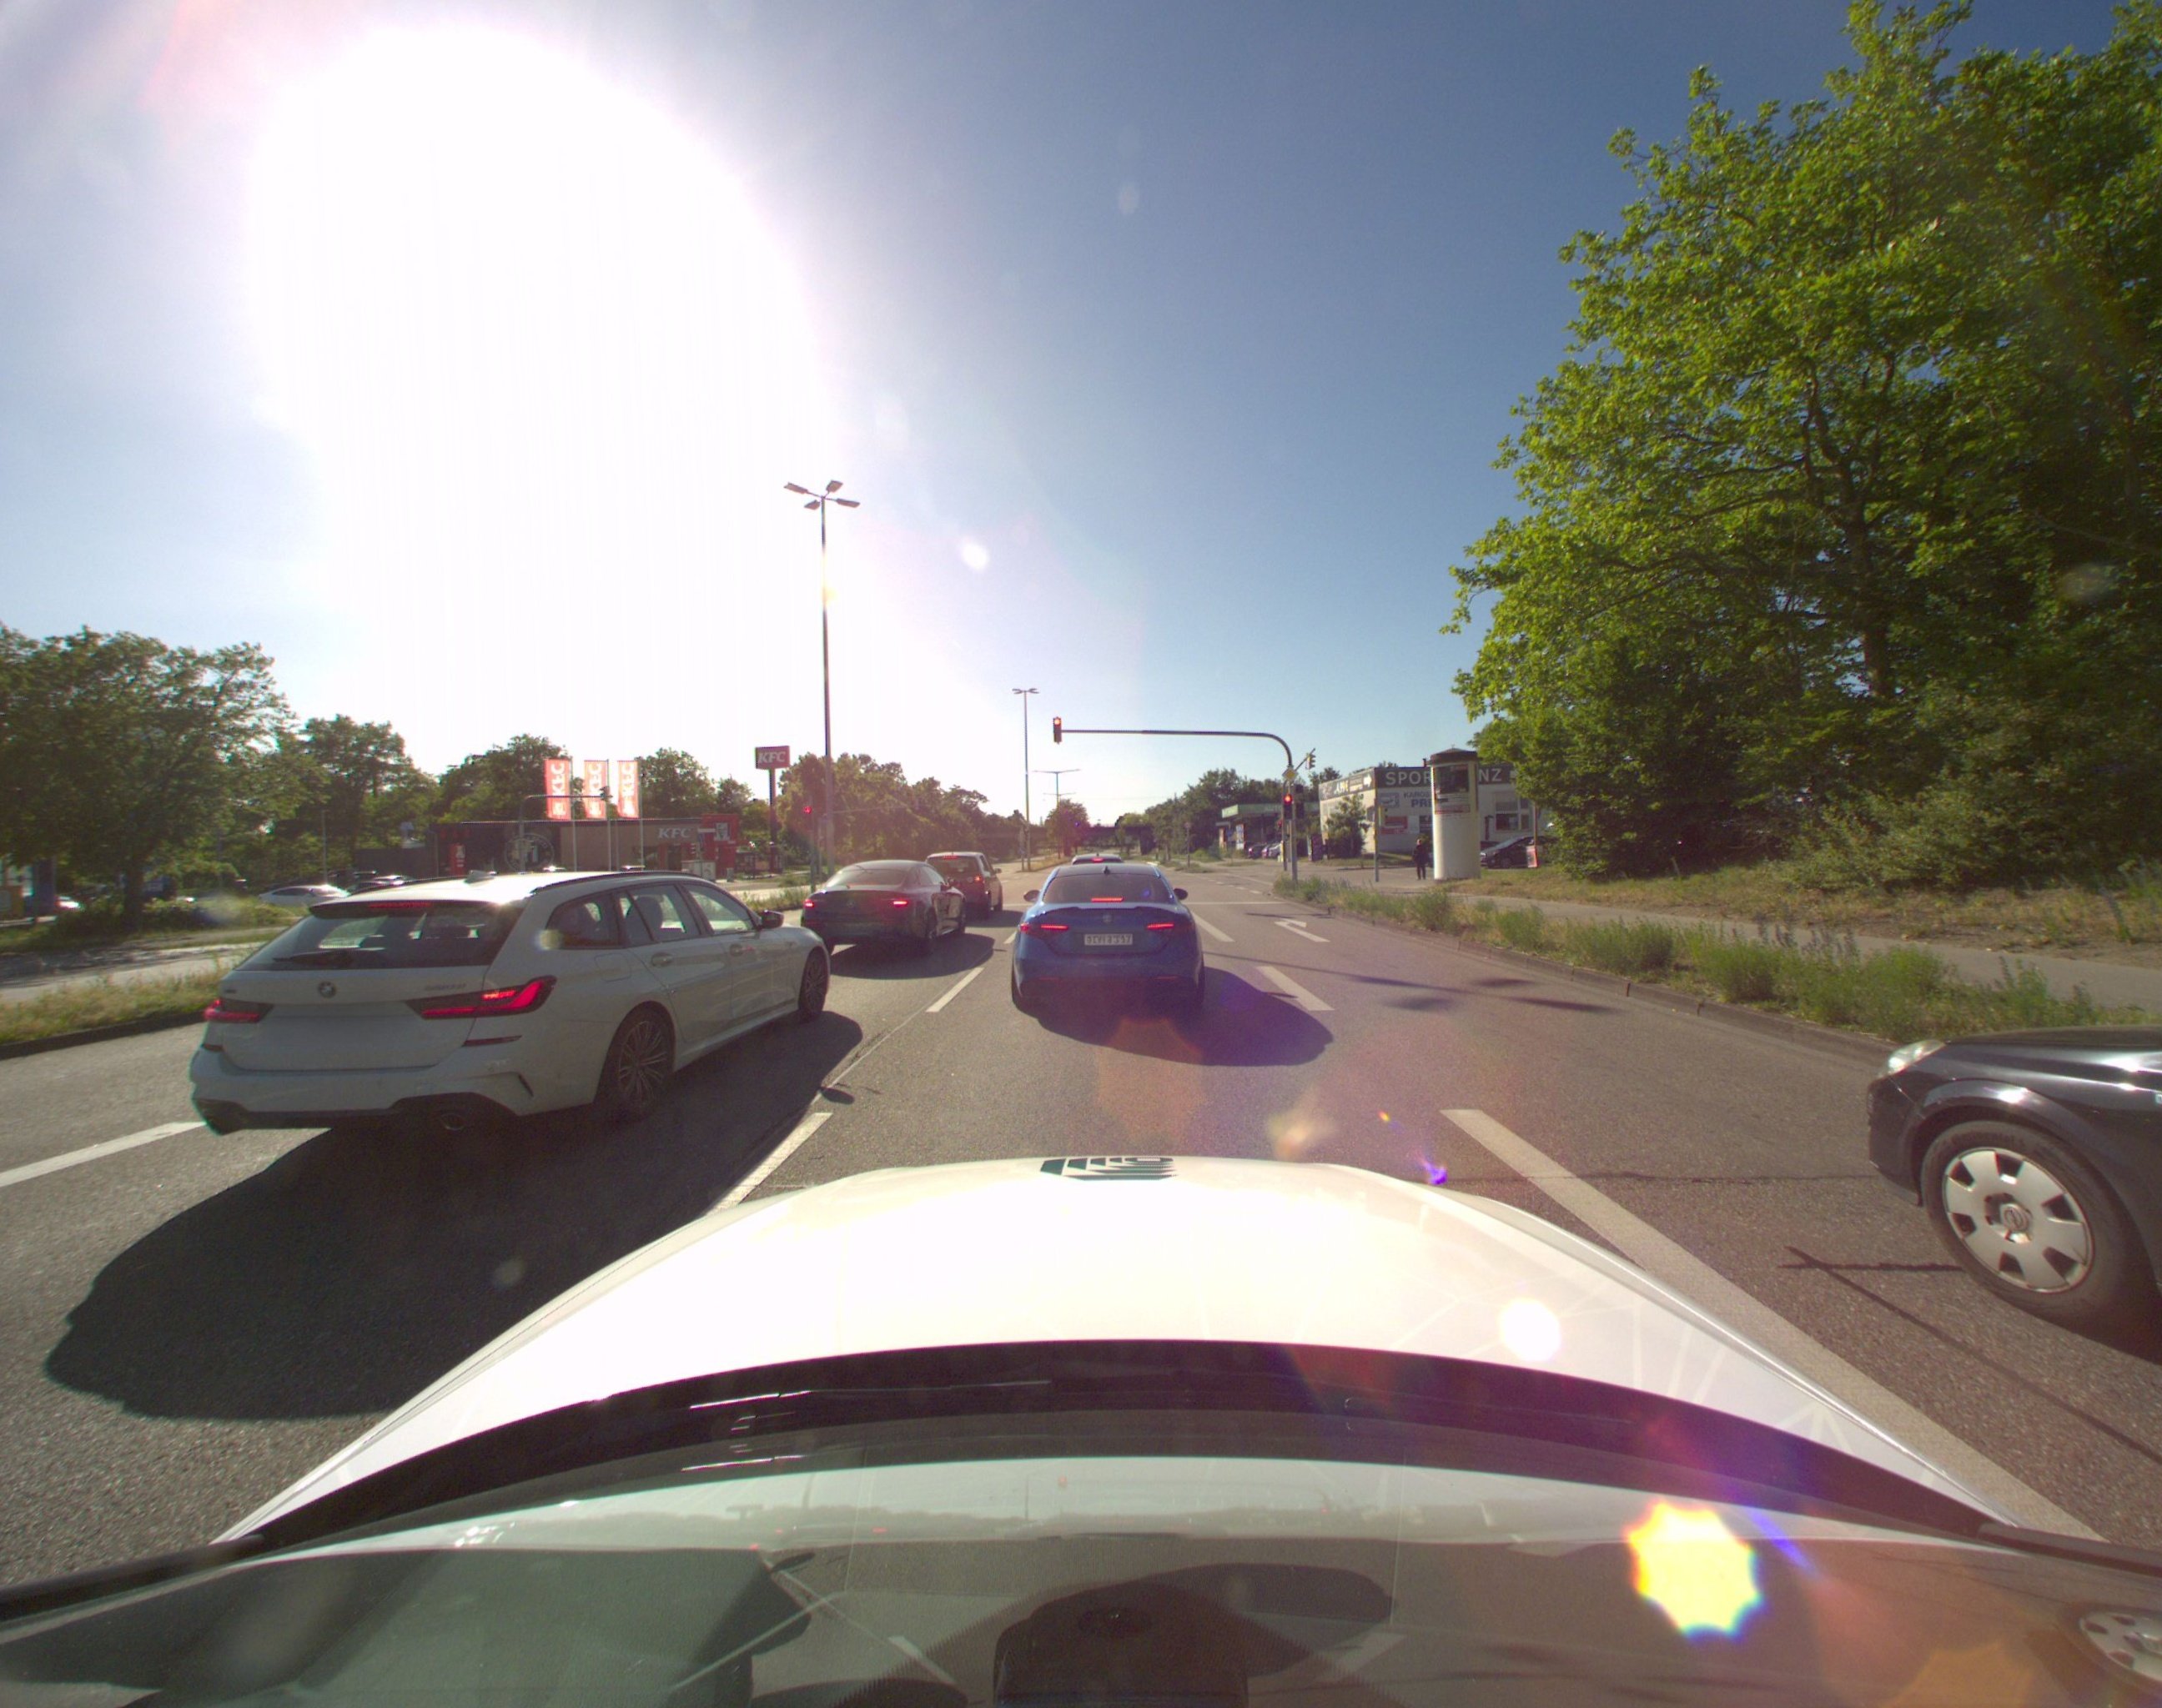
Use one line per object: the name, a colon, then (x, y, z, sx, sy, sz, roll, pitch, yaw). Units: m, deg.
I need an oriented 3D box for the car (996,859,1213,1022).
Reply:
car: (0.319, 0.776, 9.041, 1.901, 1.423, 3.722, 0, -1, 3)

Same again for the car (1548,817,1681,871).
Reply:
car: (29.252, -0.533, 44.790, 5.812, 2.672, 2.001, -2, -1, 2)

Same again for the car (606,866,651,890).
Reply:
car: (-33.765, 1.761, 60.710, 1.946, 1.740, 4.046, 0, -1, -45)

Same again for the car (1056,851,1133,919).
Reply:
car: (0.425, 0.709, 19.852, 1.696, 1.497, 3.722, 0, -1, 3)

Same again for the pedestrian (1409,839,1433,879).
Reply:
pedestrian: (14.309, 0.194, 34.283, 0.814, 1.669, 0.514, 0, -1, 1)

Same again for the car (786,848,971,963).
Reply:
car: (-3.099, 0.707, 13.464, 1.805, 1.551, 4.544, -1, 0, 1)

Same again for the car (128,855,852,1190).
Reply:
car: (-3.330, 0.762, 5.976, 1.805, 1.486, 4.599, 0, 0, 2)

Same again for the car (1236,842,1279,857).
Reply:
car: (18.609, -0.426, 85.773, 3.995, 1.552, 1.989, 0, -1, -16)

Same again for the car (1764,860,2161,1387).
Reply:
car: (3.828, 0.750, 1.407, 1.727, 1.442, 4.373, 0, 0, 2)

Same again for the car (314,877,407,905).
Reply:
car: (-42.309, 2.152, 47.880, 3.744, 1.559, 2.002, 0, -1, 3)

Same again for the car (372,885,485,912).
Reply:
car: (-32.550, 2.225, 40.706, 4.070, 1.252, 1.871, 0, -1, 0)

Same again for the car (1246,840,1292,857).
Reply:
car: (17.781, -0.495, 77.081, 3.971, 1.552, 2.001, 0, -1, 2)

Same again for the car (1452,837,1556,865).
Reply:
car: (23.237, -0.165, 44.832, 4.803, 1.468, 1.758, 0, -1, 0)

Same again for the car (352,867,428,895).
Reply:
car: (-46.917, 1.790, 55.417, 1.988, 1.813, 3.770, 0, -1, -1)

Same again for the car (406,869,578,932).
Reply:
car: (-18.875, 1.428, 26.375, 1.790, 1.726, 4.338, -1, 0, 13)

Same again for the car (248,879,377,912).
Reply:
car: (-38.972, 2.084, 41.382, 4.608, 1.579, 1.936, 0, -1, 0)

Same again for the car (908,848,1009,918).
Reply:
car: (-2.910, 0.660, 20.265, 1.806, 1.551, 4.353, 0, -1, 0)

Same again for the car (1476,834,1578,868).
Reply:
car: (22.575, -0.155, 41.343, 4.291, 1.650, 1.638, 0, -1, 1)
